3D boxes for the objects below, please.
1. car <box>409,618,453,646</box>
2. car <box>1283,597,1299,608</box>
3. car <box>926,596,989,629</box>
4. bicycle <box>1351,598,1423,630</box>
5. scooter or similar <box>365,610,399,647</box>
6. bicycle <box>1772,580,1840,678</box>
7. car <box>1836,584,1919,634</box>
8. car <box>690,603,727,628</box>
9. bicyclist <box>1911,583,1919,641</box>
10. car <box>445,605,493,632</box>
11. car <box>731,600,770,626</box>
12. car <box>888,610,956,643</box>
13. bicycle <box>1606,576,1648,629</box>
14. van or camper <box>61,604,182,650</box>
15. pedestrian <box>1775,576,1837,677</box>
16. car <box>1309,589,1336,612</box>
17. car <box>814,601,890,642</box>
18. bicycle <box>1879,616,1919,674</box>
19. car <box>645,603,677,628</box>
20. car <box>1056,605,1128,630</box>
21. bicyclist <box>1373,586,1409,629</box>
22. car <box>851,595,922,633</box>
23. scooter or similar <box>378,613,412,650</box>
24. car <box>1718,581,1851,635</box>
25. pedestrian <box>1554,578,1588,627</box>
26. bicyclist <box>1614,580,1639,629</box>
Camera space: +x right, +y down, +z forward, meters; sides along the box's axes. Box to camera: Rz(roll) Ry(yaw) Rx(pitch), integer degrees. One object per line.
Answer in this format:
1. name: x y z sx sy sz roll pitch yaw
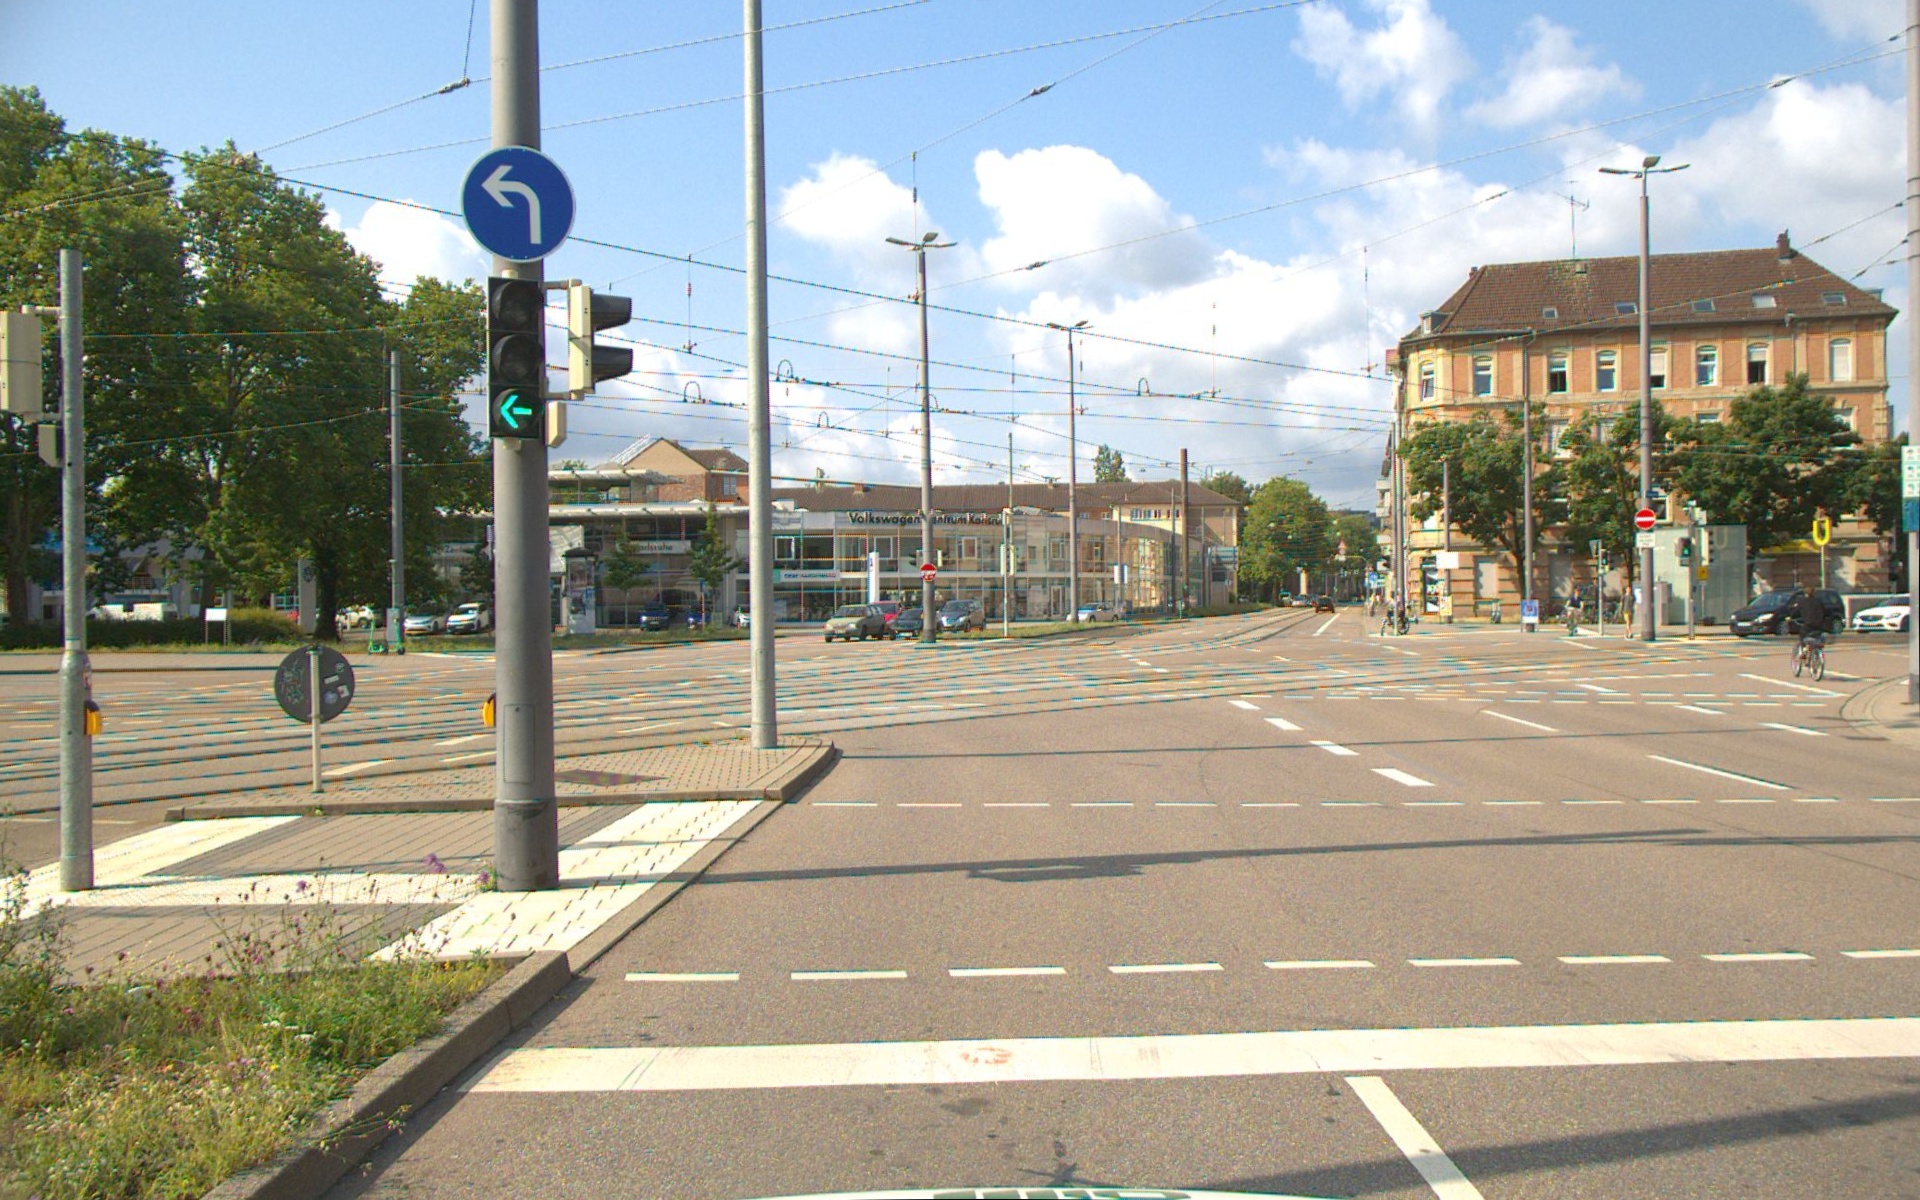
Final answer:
1. car: -32.741 1.977 102.458 1.957 1.601 3.992 1 0 -9
2. car: 42.594 0.298 213.027 1.951 1.355 4.003 -1 0 10
3. car: -0.099 0.586 80.875 1.951 1.579 4.002 -1 0 18
4. bicycle: 17.046 0.549 66.074 2.622 1.191 0.899 -1 1 -9
5. scooter or similar: -18.936 0.939 54.211 0.375 1.177 0.923 5 1 45
6. bicycle: 15.959 0.521 31.261 0.985 1.755 2.468 1 0 24
7. car: 33.758 0.294 59.251 4.616 1.623 1.982 -2 1 -28
8. car: -15.417 0.926 101.424 1.881 1.470 3.997 -1 0 -4
9. bicyclist: 17.914 0.217 29.685 0.970 1.045 1.214 2 -2 -1
10. car: -30.341 1.118 102.229 2.027 1.632 3.996 -1 0 -5
11. car: -13.082 0.807 103.369 1.880 1.579 4.000 -1 0 1
12. car: -1.446 1.011 64.885 1.587 1.182 4.003 1 0 15
13. bicycle: 23.435 0.089 58.130 0.715 1.808 1.636 -1 0 -4
14. van or camper: -48.157 1.521 95.080 5.754 2.512 2.394 1 0 3
15. pedestrian: 15.982 0.491 31.260 0.972 1.873 0.996 1 0 24
16. car: 32.894 0.055 150.027 1.951 2.049 4.002 -1 0 17
17. car: -4.239 0.830 65.428 1.782 1.539 4.003 1 0 15
18. bicycle: 17.891 0.816 29.707 0.973 1.045 3.108 2 -2 -1
19. car: -18.371 0.942 101.690 1.885 1.470 3.990 -1 0 -10
20. car: 8.328 1.105 103.986 4.429 1.489 1.760 1 0 -35
21. bicyclist: 17.216 0.287 66.046 1.171 1.687 0.784 -1 1 -8
22. car: -3.152 0.588 71.649 1.951 1.545 4.003 1 0 15
23. scooter or similar: -18.430 1.038 53.942 0.374 1.177 0.927 5 1 33
24. car: 28.146 0.274 56.435 4.277 1.770 1.982 1 0 -28
25. pedestrian: 23.244 0.088 62.923 0.850 1.841 0.884 1 0 -13
26. bicyclist: 23.424 0.150 58.115 0.561 1.700 0.655 -1 0 -4
